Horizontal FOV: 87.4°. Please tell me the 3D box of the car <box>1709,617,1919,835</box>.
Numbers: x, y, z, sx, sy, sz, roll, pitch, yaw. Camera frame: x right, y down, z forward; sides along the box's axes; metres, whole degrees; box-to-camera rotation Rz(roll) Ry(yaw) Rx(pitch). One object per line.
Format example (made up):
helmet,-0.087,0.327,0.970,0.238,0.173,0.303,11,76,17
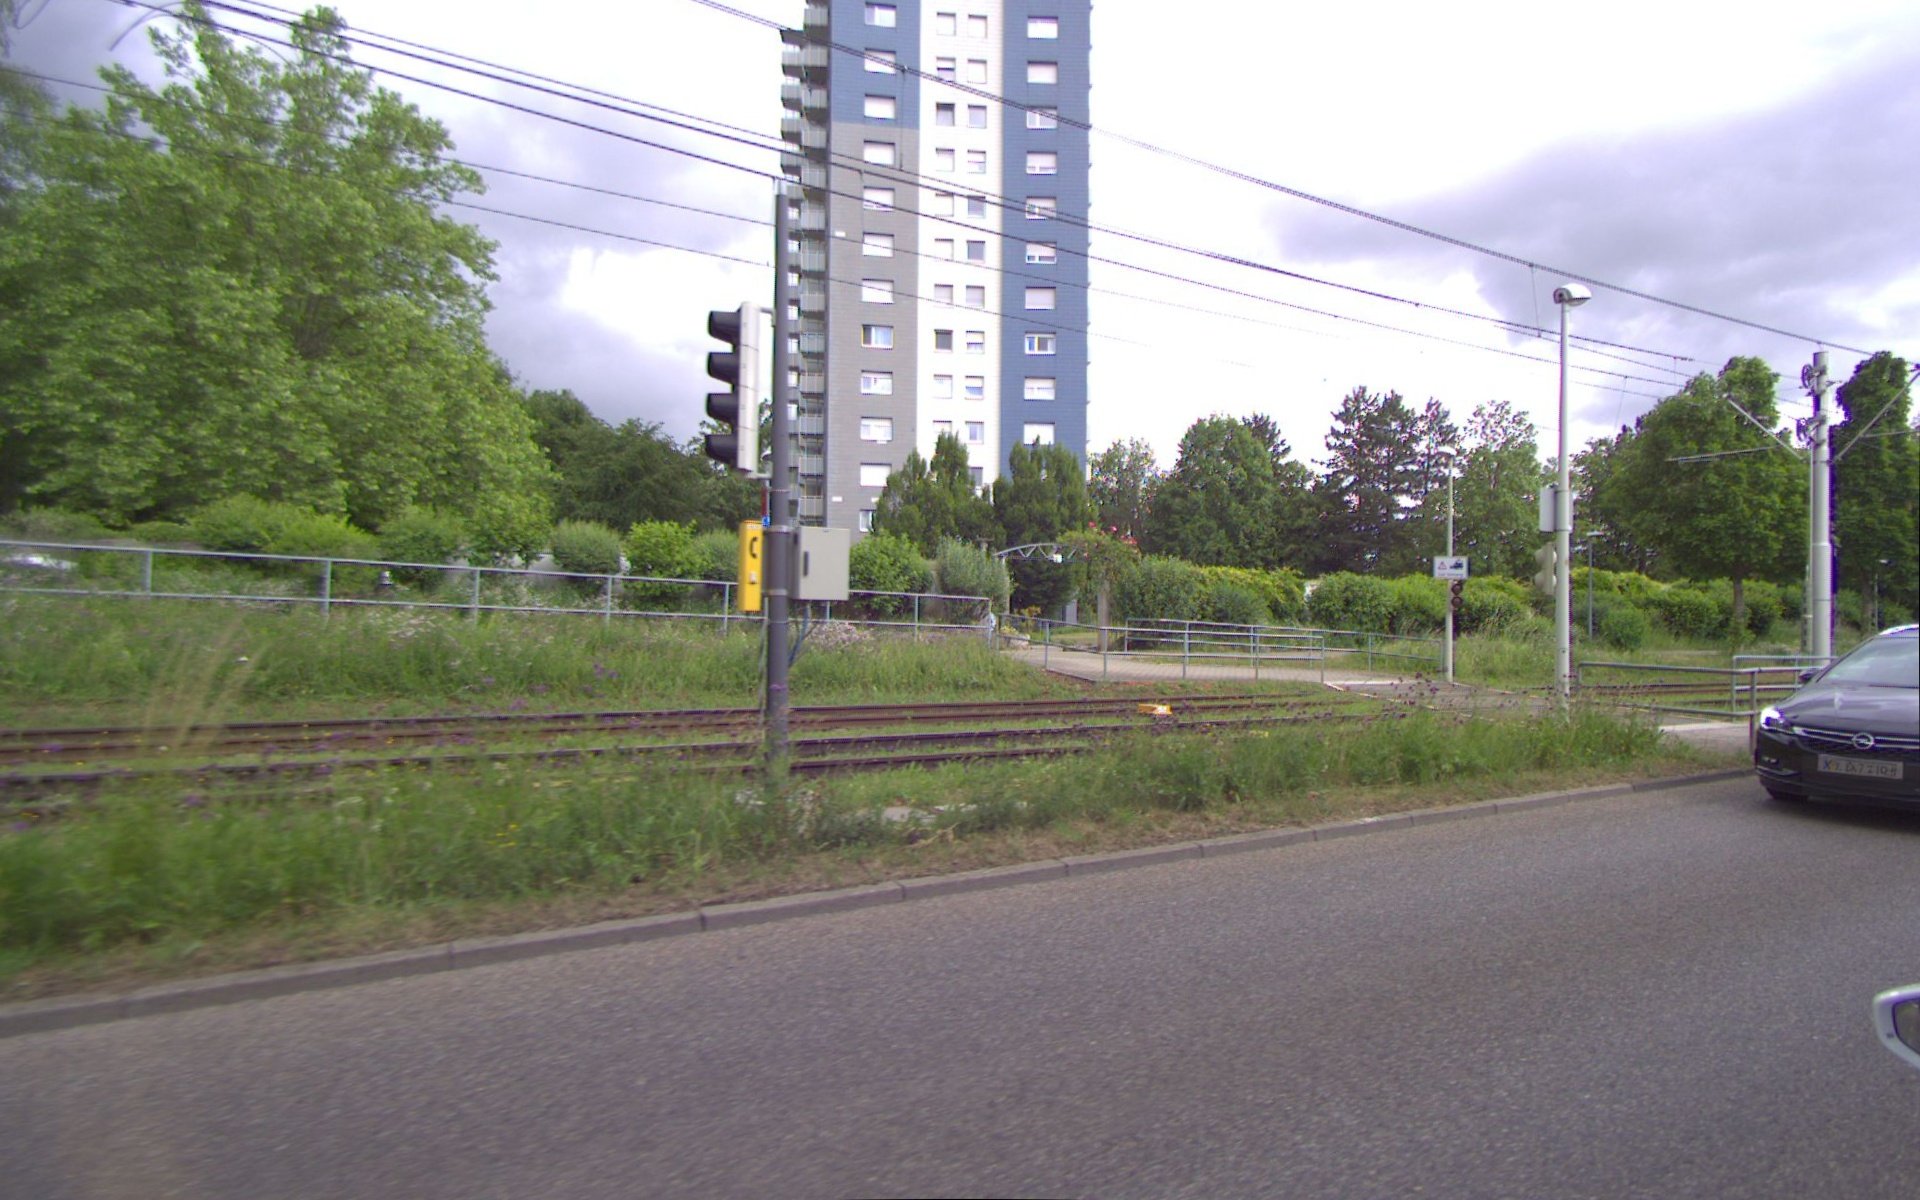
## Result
car,8.305,0.916,8.344,4.206,1.490,1.841,1,0,-30
